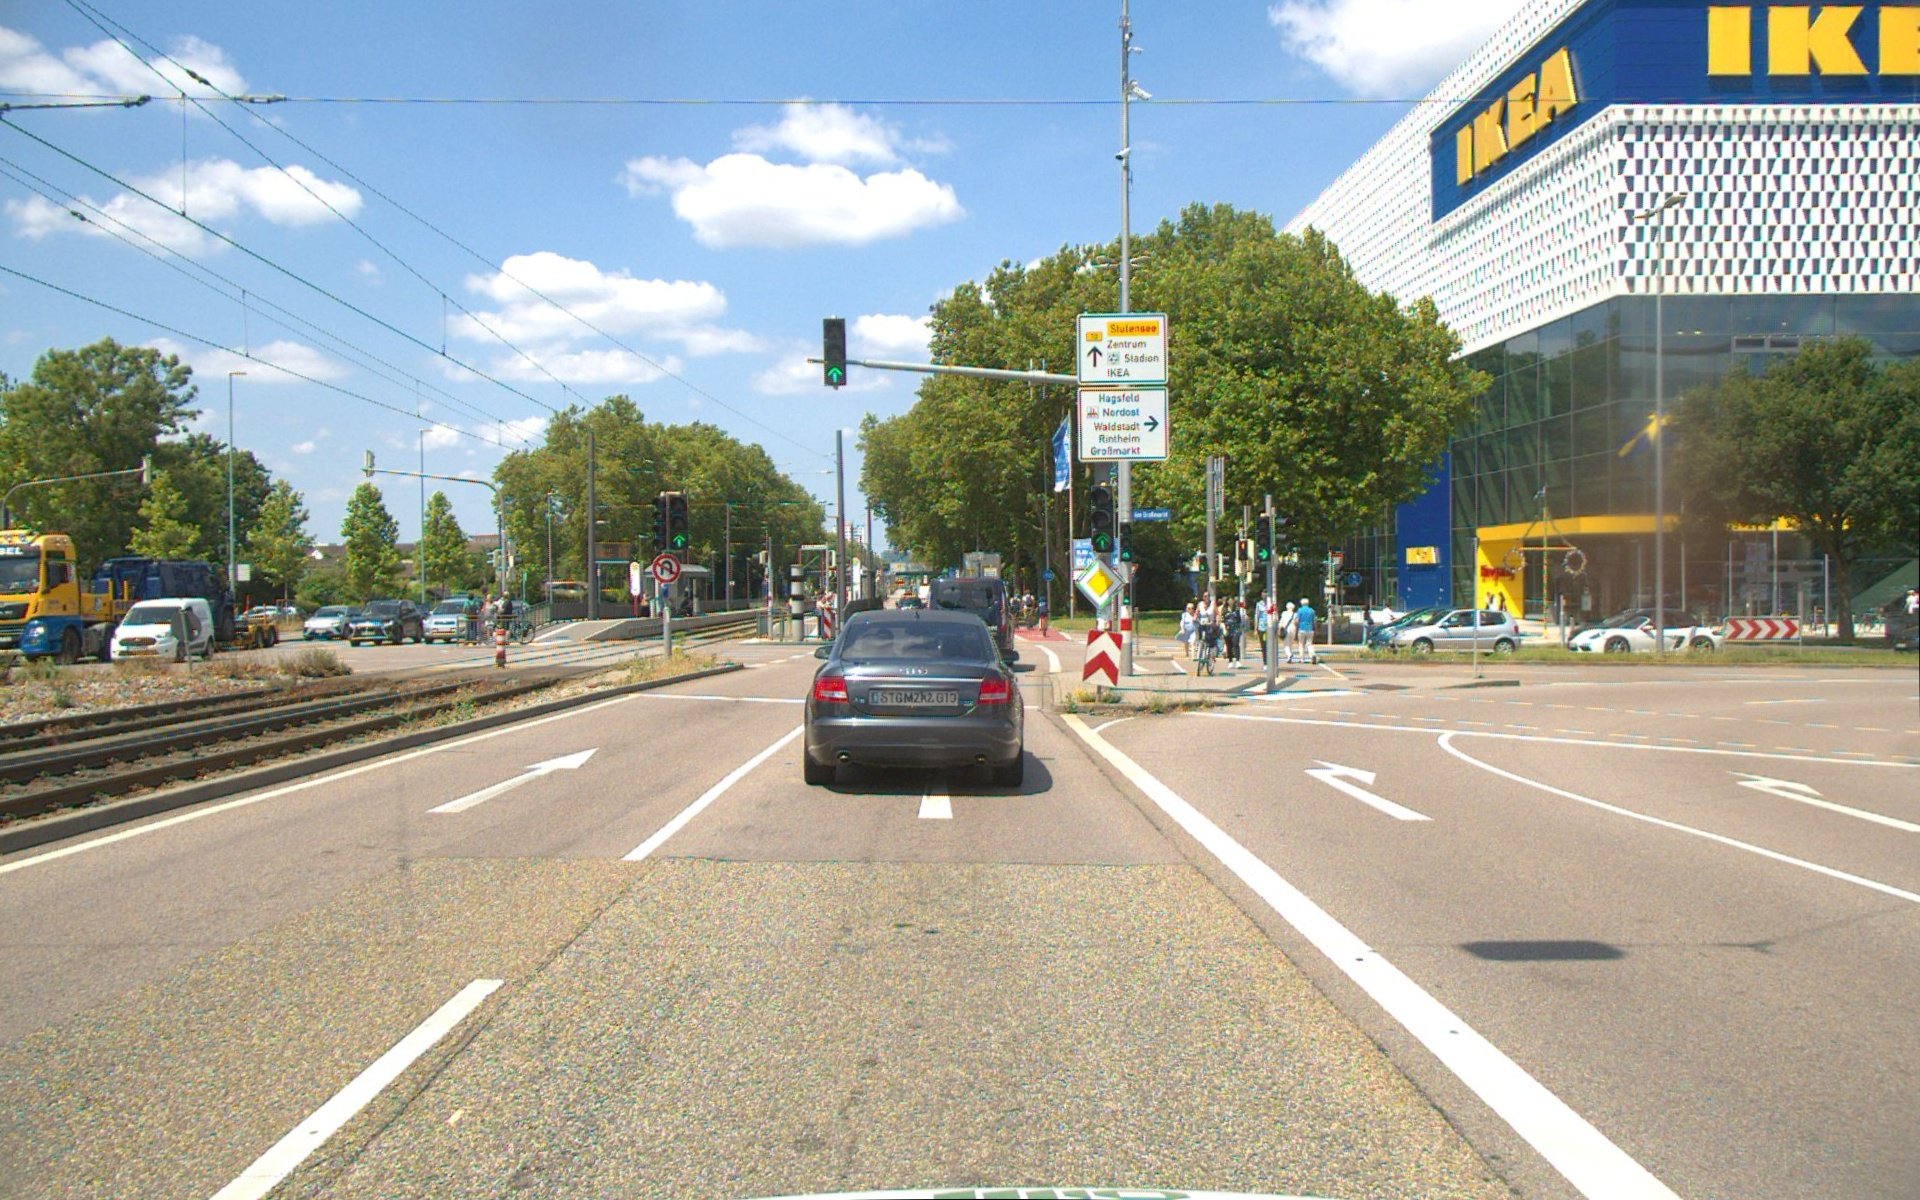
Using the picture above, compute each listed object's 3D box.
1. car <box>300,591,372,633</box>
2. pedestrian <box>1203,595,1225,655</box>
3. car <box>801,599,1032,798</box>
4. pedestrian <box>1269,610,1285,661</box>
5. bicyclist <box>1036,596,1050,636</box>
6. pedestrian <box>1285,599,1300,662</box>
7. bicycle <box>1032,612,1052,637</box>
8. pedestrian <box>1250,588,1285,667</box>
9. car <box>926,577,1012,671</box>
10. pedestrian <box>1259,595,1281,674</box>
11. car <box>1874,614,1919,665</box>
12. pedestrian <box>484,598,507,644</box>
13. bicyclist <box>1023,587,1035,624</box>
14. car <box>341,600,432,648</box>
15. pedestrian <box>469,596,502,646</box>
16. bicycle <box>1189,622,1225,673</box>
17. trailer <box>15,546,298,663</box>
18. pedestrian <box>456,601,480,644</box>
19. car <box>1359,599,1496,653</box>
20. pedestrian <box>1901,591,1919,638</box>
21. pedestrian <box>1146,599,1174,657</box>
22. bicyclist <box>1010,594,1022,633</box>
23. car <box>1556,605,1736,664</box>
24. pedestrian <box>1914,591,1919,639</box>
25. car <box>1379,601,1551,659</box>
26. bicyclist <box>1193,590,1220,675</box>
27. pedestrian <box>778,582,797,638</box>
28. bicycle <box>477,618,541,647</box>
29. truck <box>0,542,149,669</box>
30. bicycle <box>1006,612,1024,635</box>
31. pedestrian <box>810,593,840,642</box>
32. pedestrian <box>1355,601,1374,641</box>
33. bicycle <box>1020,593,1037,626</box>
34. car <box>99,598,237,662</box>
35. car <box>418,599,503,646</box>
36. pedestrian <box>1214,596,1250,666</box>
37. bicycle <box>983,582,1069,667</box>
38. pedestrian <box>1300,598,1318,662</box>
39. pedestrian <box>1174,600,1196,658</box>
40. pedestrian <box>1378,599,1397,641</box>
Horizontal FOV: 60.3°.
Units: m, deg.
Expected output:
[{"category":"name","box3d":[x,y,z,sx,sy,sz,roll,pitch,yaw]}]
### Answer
[{"category":"car","box3d":[-28.147,0.530,74.704,1.765,1.850,3.999,1,0,-1]},{"category":"pedestrian","box3d":[7.112,0.698,46.264,0.542,1.663,0.433,1,0,1]},{"category":"car","box3d":[-0.371,0.745,14.584,1.756,1.480,3.999,0,0,-1]},{"category":"pedestrian","box3d":[8.359,0.942,43.624,0.365,1.326,0.365,1,0,1]},{"category":"bicyclist","box3d":[3.593,0.699,71.453,0.518,1.705,1.088,0,0,-1]},{"category":"pedestrian","box3d":[8.776,0.798,43.653,0.314,1.663,0.377,1,0,1]},{"category":"bicycle","box3d":[3.515,1.049,71.281,0.674,1.023,2.751,1,0,-1]},{"category":"pedestrian","box3d":[7.379,0.658,39.681,0.671,1.878,0.706,1,0,24]},{"category":"car","box3d":[0.152,0.516,36.906,1.799,1.984,3.999,0,0,-2]},{"category":"pedestrian","box3d":[6.605,0.738,35.244,0.373,1.663,0.377,1,0,1]},{"category":"car","box3d":[31.308,1.280,51.653,4.404,1.512,2.001,2,0,2]},{"category":"pedestrian","box3d":[-16.158,0.728,57.559,0.672,1.592,0.572,0,0,-5]},{"category":"bicyclist","box3d":[3.415,0.286,81.342,0.518,1.820,1.088,0,0,-1]},{"category":"car","box3d":[-21.701,0.884,62.789,1.784,1.699,4.462,1,0,1]},{"category":"pedestrian","box3d":[-16.887,0.745,58.902,0.806,1.750,0.775,0,0,21]},{"category":"bicycle","box3d":[5.340,1.010,35.705,0.645,1.040,1.863,1,0,12]},{"category":"trailer","box3d":[-27.883,0.144,58.803,2.711,3.580,15.873,1,0,-2]},{"category":"pedestrian","box3d":[-16.770,0.773,56.432,0.672,1.468,0.572,0,0,-5]},{"category":"car","box3d":[14.469,0.784,51.340,3.710,1.512,2.001,2,0,2]},{"category":"pedestrian","box3d":[41.457,0.628,71.858,0.696,2.049,0.824,1,0,1]},{"category":"pedestrian","box3d":[5.374,0.755,44.518,0.656,1.529,0.609,1,0,15]},{"category":"bicyclist","box3d":[2.649,0.655,77.851,0.518,1.820,1.088,0,0,-1]},{"category":"car","box3d":[19.990,0.988,48.317,4.404,1.512,2.001,2,0,2]},{"category":"pedestrian","box3d":[41.400,0.629,70.777,0.696,2.049,0.824,1,0,1]},{"category":"car","box3d":[14.633,0.860,48.098,4.404,1.512,2.001,2,0,2]},{"category":"bicyclist","box3d":[5.293,0.690,35.512,0.517,1.795,0.828,0,0,12]},{"category":"pedestrian","box3d":[-6.363,0.358,61.092,0.672,2.049,0.572,0,-1,-6]},{"category":"bicycle","box3d":[-15.152,1.089,55.608,2.018,0.941,0.751,1,0,-10]},{"category":"truck","box3d":[-27.661,0.143,50.489,2.711,3.631,6.437,1,0,-2]},{"category":"bicycle","box3d":[2.567,1.079,77.472,0.674,1.011,2.751,1,0,-1]},{"category":"pedestrian","box3d":[-4.445,0.583,54.453,0.728,1.583,0.606,0,0,36]},{"category":"pedestrian","box3d":[16.266,0.848,66.577,0.689,1.571,0.678,1,0,18]},{"category":"bicycle","box3d":[3.356,0.455,80.829,0.674,1.545,2.751,1,0,-1]},{"category":"car","box3d":[-22.653,0.831,47.499,1.785,1.699,4.461,1,0,0]},{"category":"car","box3d":[-19.092,0.836,63.372,1.785,1.699,4.462,1,0,1]},{"category":"pedestrian","box3d":[6.592,0.745,40.058,0.699,1.663,0.706,1,0,24]},{"category":"bicycle","box3d":[1.731,0.608,42.364,1.951,2.049,4.003,1,0,5]},{"category":"pedestrian","box3d":[9.192,0.793,43.593,0.389,1.663,0.371,1,0,1]},{"category":"pedestrian","box3d":[6.034,0.769,44.339,0.483,1.546,0.707,1,0,16]},{"category":"pedestrian","box3d":[17.160,0.794,66.402,0.689,1.663,0.612,1,0,18]}]
